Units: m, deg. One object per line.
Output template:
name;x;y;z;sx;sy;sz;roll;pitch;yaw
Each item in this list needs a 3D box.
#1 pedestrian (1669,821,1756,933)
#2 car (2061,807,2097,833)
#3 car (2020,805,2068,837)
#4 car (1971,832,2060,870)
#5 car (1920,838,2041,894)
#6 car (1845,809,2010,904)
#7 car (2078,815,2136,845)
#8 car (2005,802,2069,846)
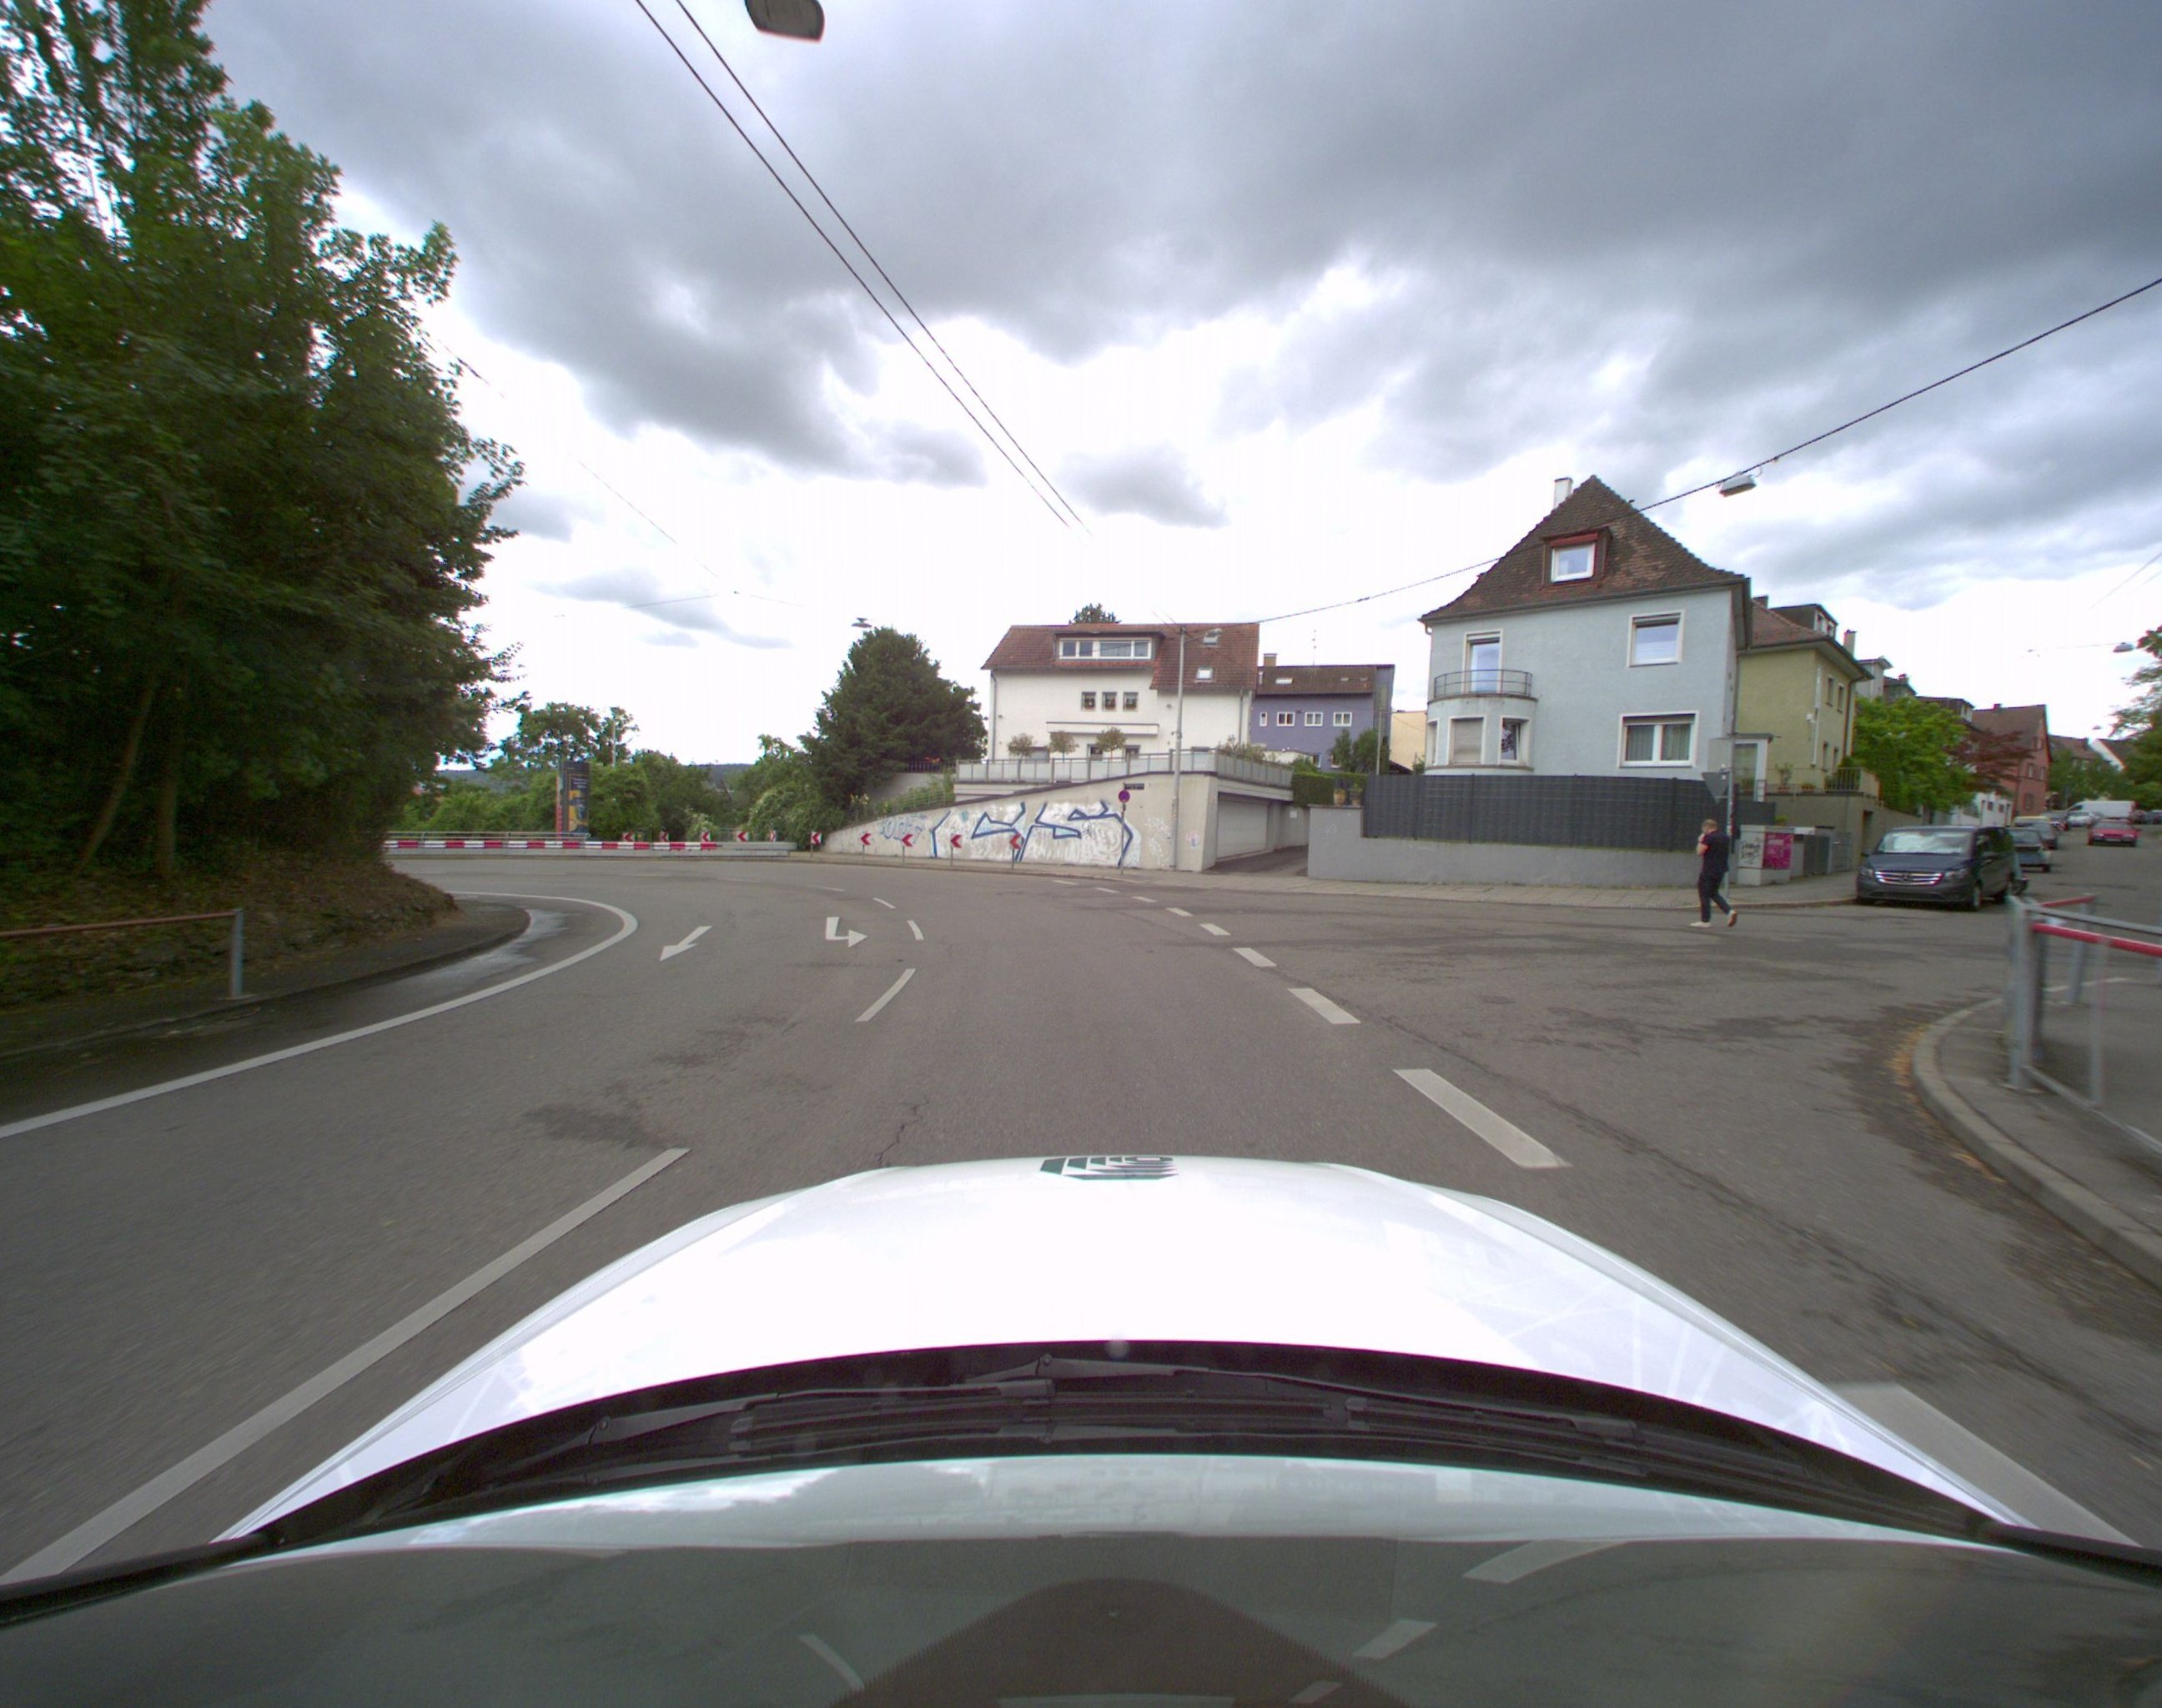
pedestrian;10.638;0.350;13.727;0.825;1.810;1.003;-1;2;-42
car;89.488;-3.026;73.007;4.018;2.014;1.977;2;-1;-38
car;67.079;-2.265;56.713;4.018;2.014;1.977;2;-1;-38
car;35.116;-0.126;30.579;3.825;1.342;1.977;0;1;-38
car;24.942;0.273;22.555;4.017;1.359;1.752;-2;2;-35
car;19.948;0.095;19.159;4.016;2.014;2.068;2;-1;-35
car;57.310;-1.313;45.497;4.019;1.557;1.977;-1;1;-38
car;49.924;-1.514;42.506;4.018;2.014;1.977;2;-1;-38
